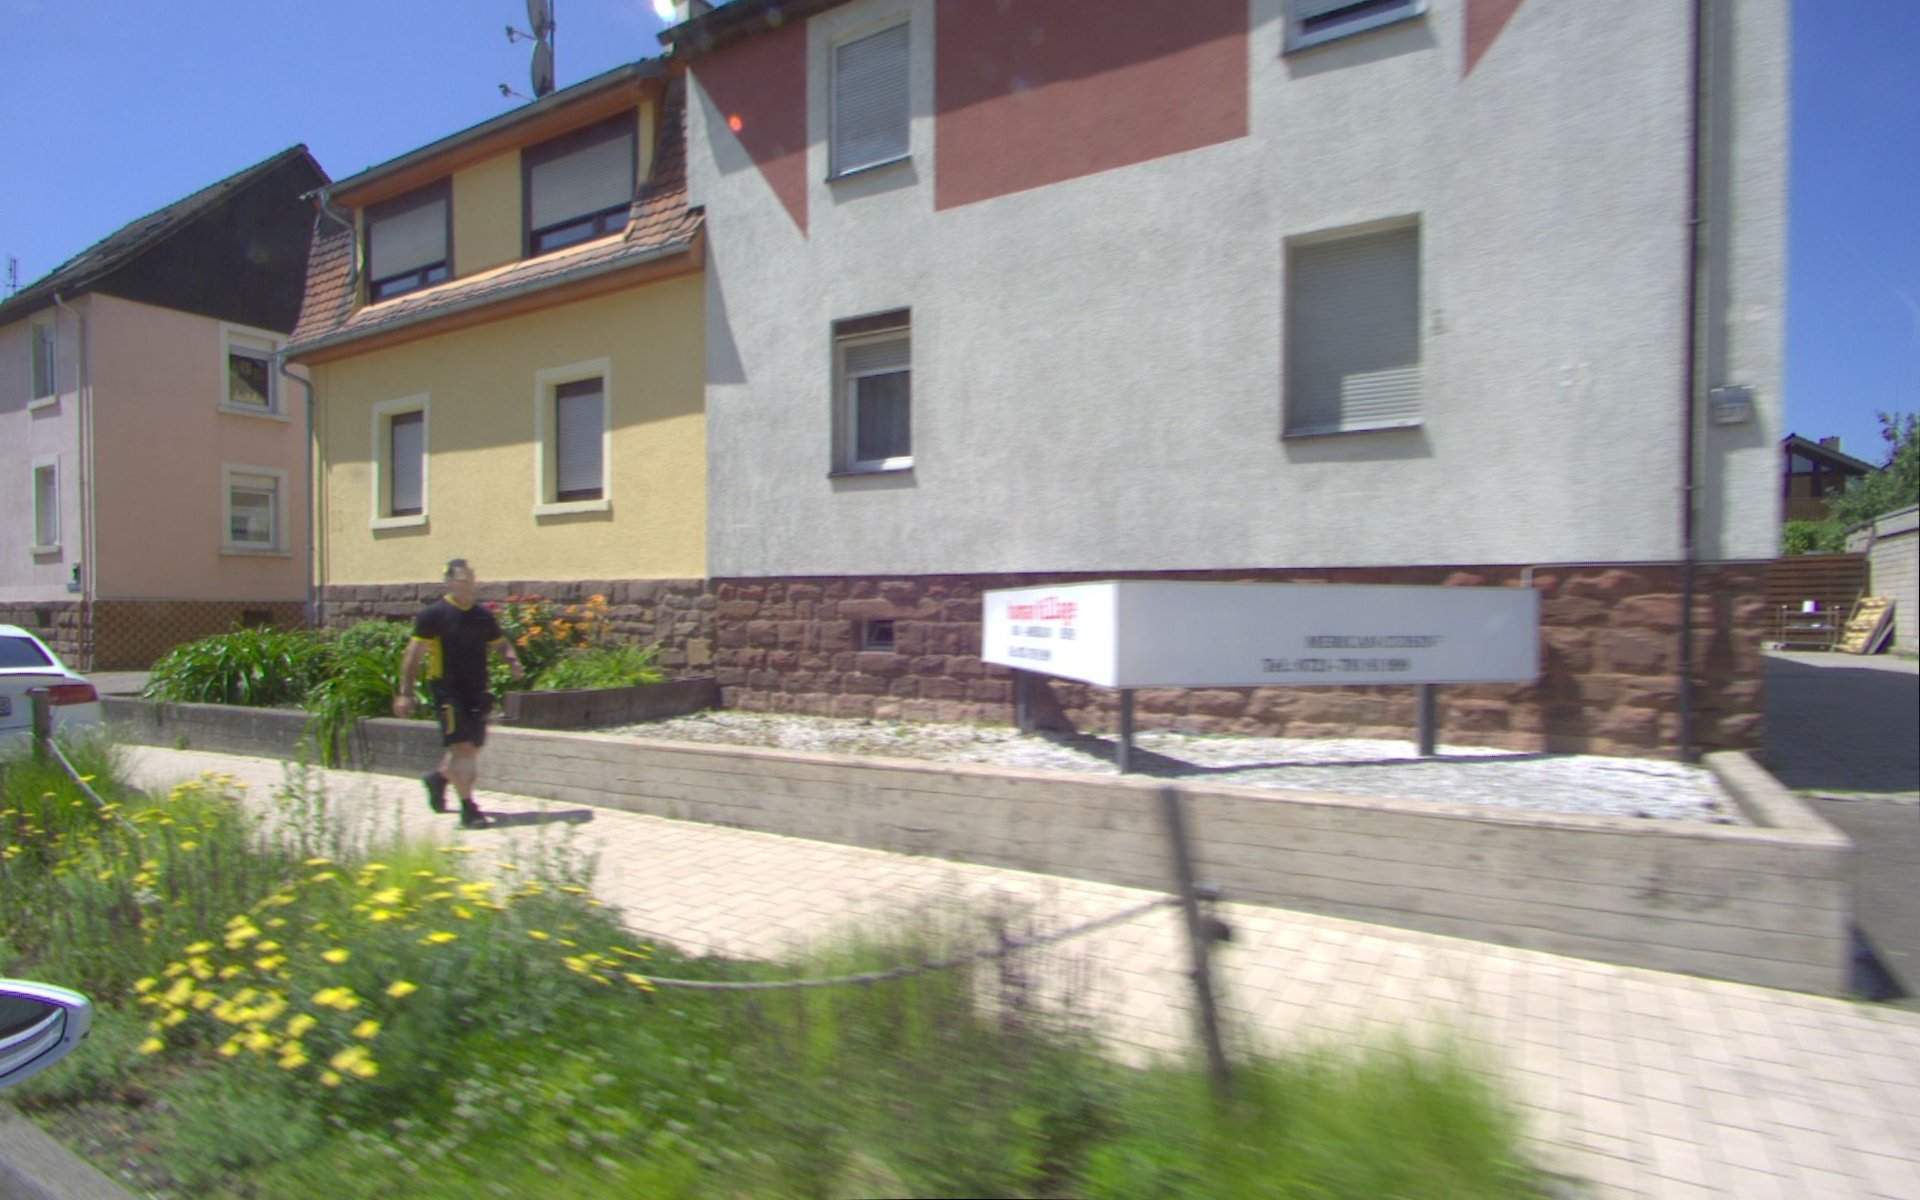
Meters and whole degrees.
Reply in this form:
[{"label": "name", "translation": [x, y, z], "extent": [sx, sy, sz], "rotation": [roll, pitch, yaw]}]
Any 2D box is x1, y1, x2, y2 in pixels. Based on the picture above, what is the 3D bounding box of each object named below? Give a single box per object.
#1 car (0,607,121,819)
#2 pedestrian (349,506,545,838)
[{"label": "car", "translation": [-8.531, 0.866, 8.084], "extent": [4.576, 1.436, 1.749], "rotation": [-2, 0, 38]}, {"label": "pedestrian", "translation": [-3.456, 0.468, 6.757], "extent": [1.019, 2.039, 0.745], "rotation": [-1, -2, 32]}]
